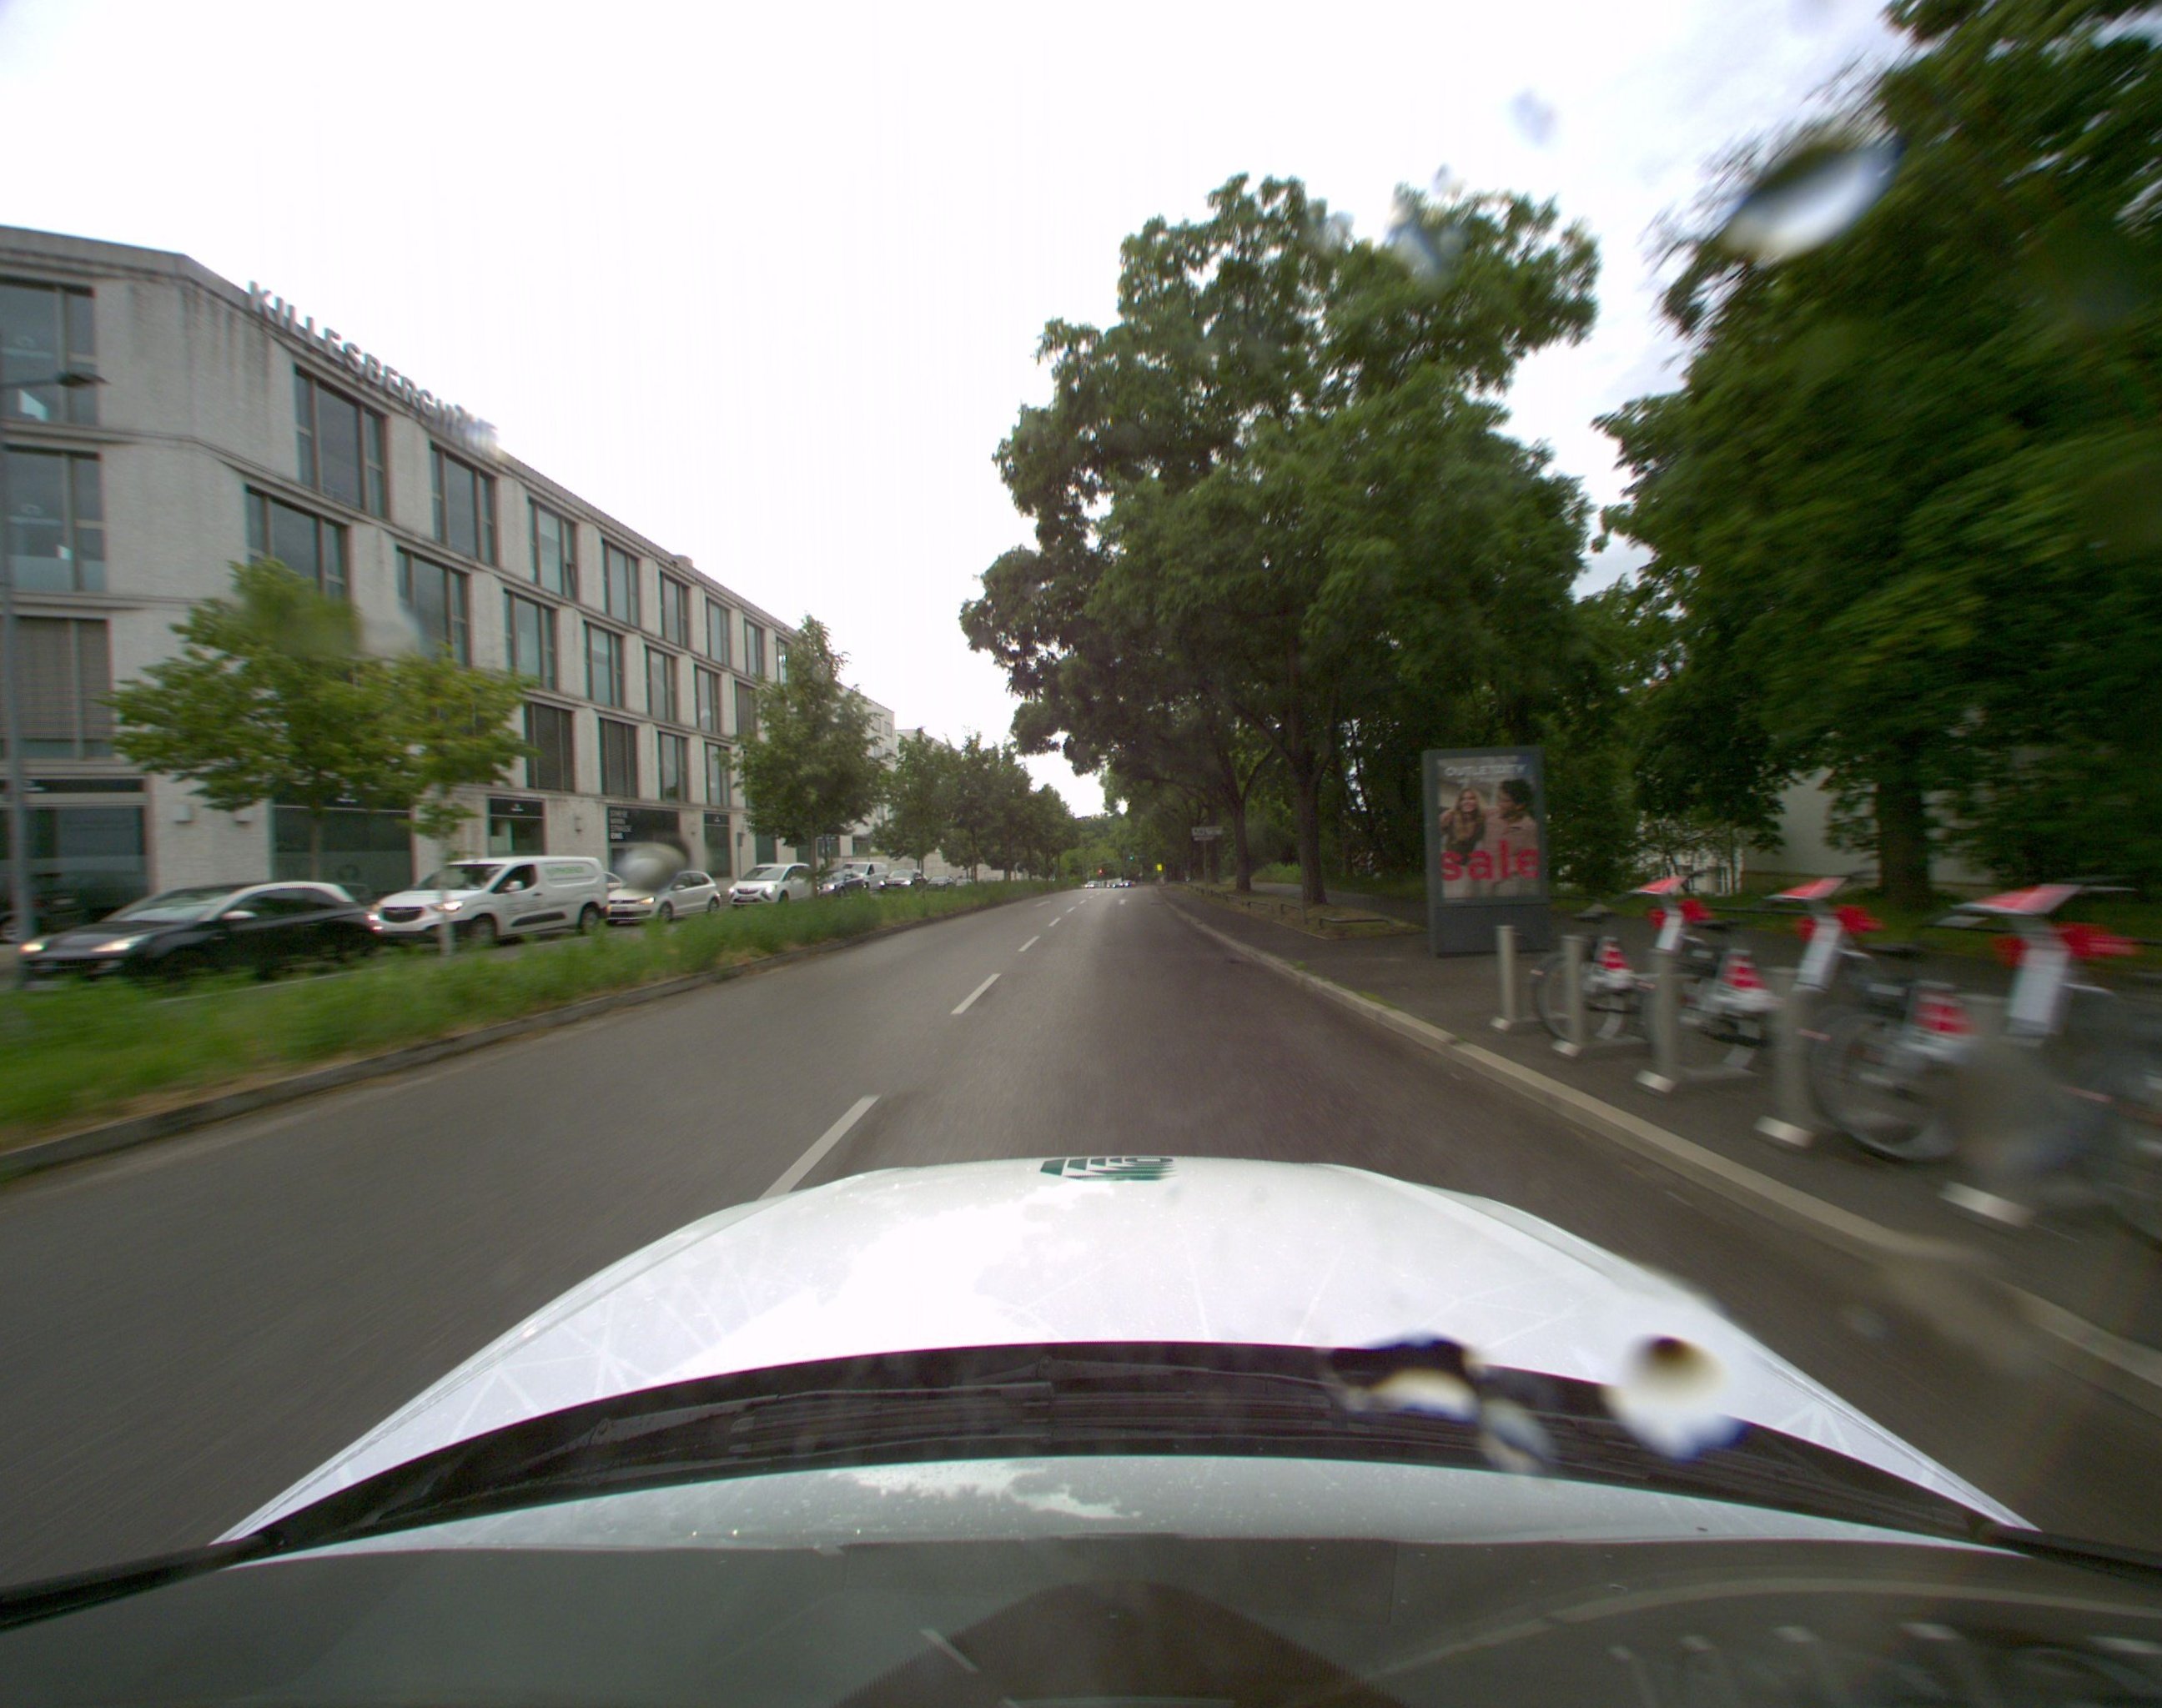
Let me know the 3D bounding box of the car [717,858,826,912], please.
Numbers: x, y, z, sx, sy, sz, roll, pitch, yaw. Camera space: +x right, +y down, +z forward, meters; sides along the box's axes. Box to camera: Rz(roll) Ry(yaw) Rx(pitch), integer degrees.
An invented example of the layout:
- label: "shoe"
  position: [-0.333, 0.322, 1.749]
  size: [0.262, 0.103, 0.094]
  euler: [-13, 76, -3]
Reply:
- label: "car"
  position: [-11.198, 1.066, 29.860]
  size: [1.820, 1.600, 4.681]
  euler: [-3, 1, 5]

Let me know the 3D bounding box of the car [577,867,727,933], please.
- label: "car"
  position: [-11.859, 1.211, 22.845]
  size: [1.735, 1.467, 4.066]
  euler: [-3, 1, 5]

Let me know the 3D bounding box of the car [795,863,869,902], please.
- label: "car"
  position: [-10.833, 1.213, 35.724]
  size: [1.633, 1.410, 4.002]
  euler: [-3, 1, 5]

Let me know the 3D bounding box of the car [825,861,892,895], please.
- label: "car"
  position: [-12.752, 1.388, 47.096]
  size: [2.113, 1.816, 5.264]
  euler: [-2, -1, 3]

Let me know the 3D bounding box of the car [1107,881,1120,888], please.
- label: "car"
  position: [7.124, 6.776, 180.135]
  size: [1.756, 1.381, 4.209]
  euler: [-5, -3, 18]

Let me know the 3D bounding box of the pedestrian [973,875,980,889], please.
- label: "pedestrian"
  position: [-13.404, 3.596, 104.559]
  size: [0.704, 1.775, 1.022]
  euler: [-3, -3, 4]

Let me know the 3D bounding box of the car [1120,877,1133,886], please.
- label: "car"
  position: [10.703, 6.504, 190.560]
  size: [1.905, 1.857, 4.526]
  euler: [-7, -3, 17]

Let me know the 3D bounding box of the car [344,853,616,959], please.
- label: "car"
  position: [-12.214, 0.949, 17.077]
  size: [1.835, 1.802, 4.779]
  euler: [-1, 1, 5]

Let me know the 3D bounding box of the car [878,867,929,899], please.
- label: "car"
  position: [-9.929, 1.590, 45.827]
  size: [1.687, 1.581, 4.021]
  euler: [-2, 0, 4]

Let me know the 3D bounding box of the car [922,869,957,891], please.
- label: "car"
  position: [-11.147, 2.030, 64.312]
  size: [1.687, 1.581, 4.023]
  euler: [-1, 0, 5]

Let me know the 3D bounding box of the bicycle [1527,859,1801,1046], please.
- label: "bicycle"
  position: [4.101, 0.665, 5.786]
  size: [1.482, 1.131, 0.556]
  euler: [-5, -1, -3]

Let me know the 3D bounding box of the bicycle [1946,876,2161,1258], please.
- label: "bicycle"
  position: [4.106, 0.657, 2.871]
  size: [1.482, 1.131, 0.556]
  euler: [-5, -1, -3]

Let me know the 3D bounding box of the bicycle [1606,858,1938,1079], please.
- label: "bicycle"
  position: [4.124, 0.651, 4.921]
  size: [1.482, 1.131, 0.556]
  euler: [-5, -1, -3]

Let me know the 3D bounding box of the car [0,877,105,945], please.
- label: "car"
  position: [-23.944, 1.254, 17.567]
  size: [3.299, 1.376, 1.556]
  euler: [-2, 0, -22]

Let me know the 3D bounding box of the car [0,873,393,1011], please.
- label: "car"
  position: [-12.569, 1.126, 11.841]
  size: [1.707, 1.460, 3.754]
  euler: [-3, 1, 4]

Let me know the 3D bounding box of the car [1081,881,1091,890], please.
- label: "car"
  position: [1.056, 6.493, 166.511]
  size: [1.702, 1.747, 4.341]
  euler: [-2, -2, 3]

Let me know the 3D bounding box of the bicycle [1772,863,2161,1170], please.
- label: "bicycle"
  position: [4.095, 0.665, 3.641]
  size: [1.482, 1.131, 0.556]
  euler: [-5, -1, -3]
